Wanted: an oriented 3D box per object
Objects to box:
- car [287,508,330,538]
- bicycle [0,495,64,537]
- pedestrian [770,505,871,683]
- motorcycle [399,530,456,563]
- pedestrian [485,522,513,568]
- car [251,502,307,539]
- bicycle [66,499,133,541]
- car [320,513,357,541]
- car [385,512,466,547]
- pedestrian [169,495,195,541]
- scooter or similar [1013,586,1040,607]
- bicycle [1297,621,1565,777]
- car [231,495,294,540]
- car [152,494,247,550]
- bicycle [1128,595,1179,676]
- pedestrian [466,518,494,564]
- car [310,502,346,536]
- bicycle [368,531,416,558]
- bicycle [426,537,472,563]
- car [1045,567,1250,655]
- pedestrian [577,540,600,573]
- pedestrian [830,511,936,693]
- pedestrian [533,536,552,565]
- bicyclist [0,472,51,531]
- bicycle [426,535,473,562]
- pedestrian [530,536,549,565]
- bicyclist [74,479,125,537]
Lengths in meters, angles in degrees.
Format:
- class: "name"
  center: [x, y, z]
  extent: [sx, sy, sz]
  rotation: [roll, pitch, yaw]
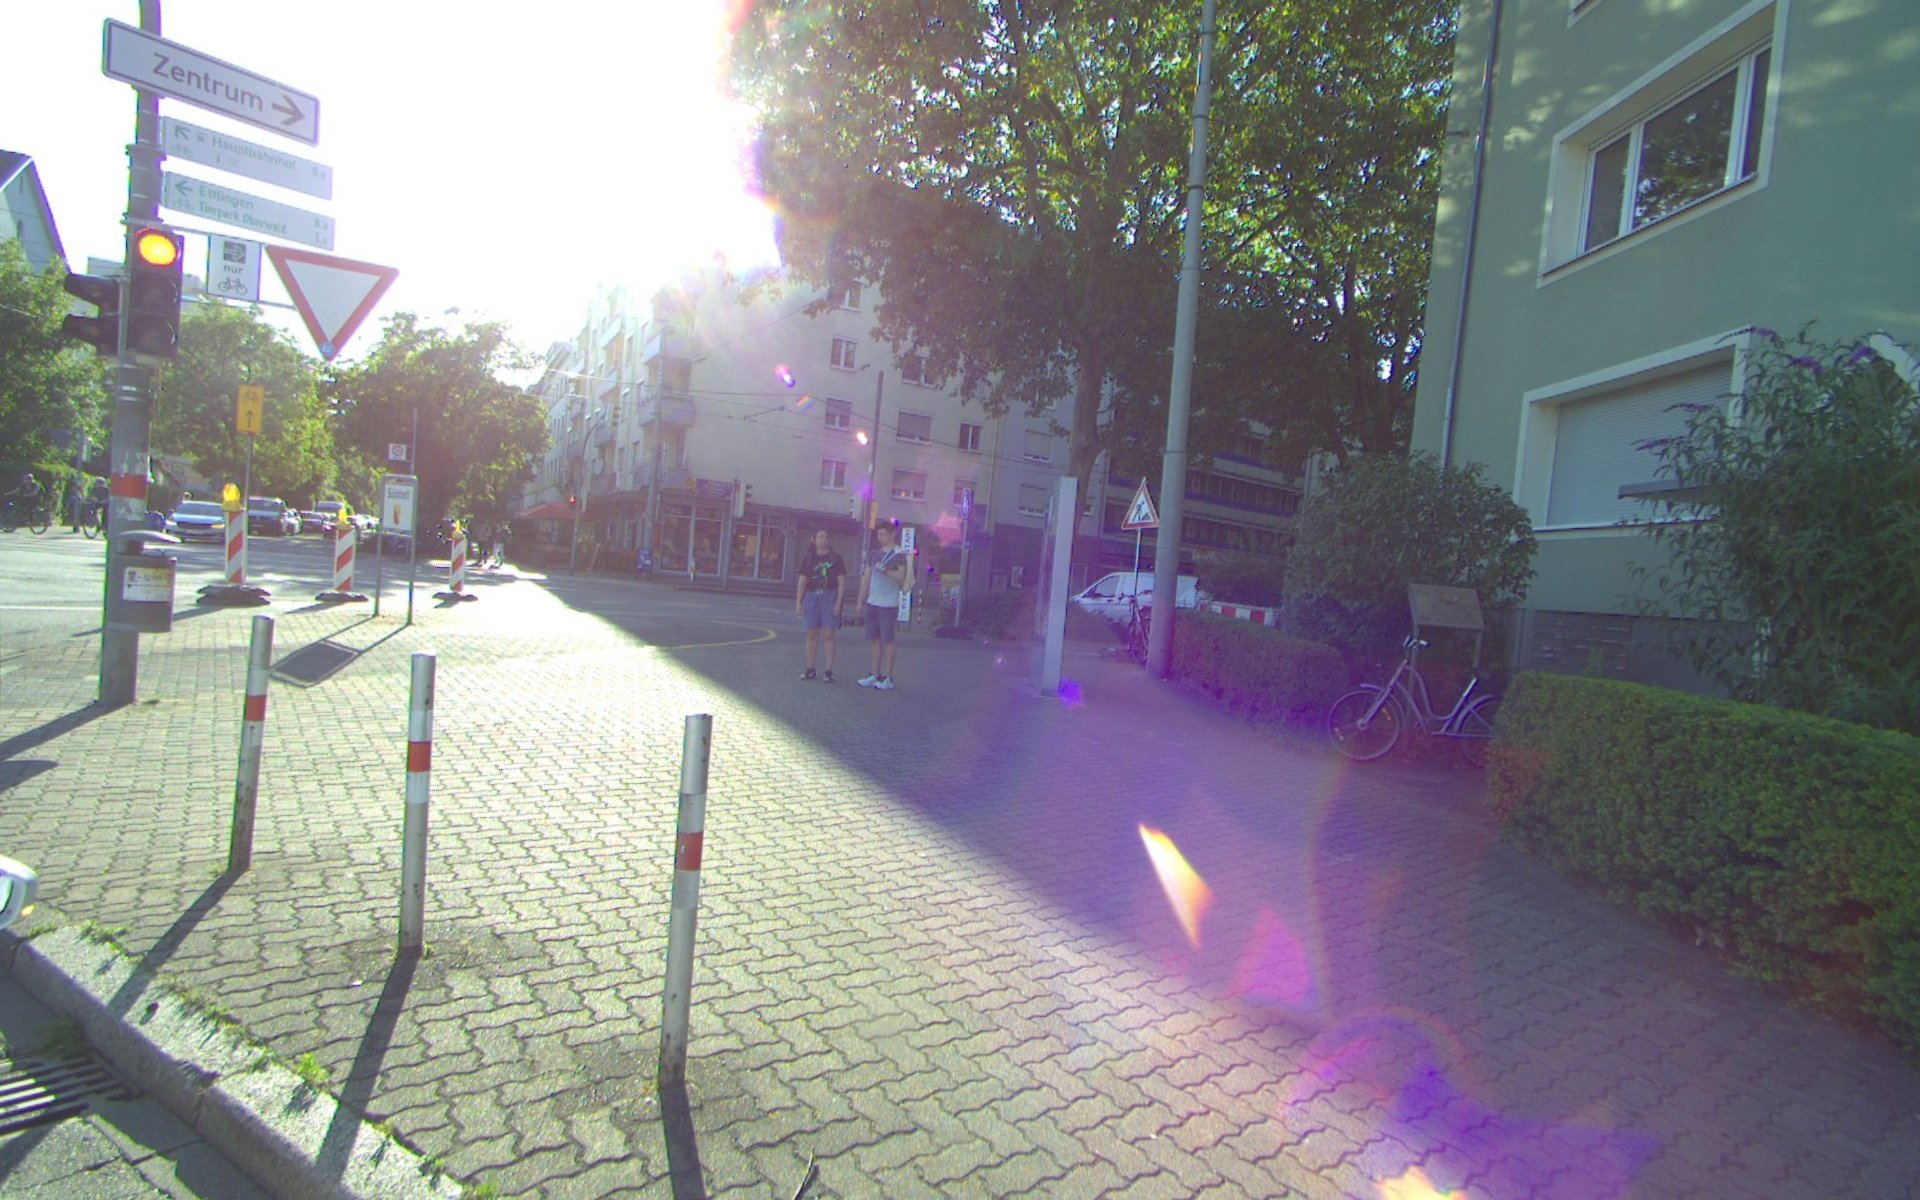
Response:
- class: "car"
  center: [-47.043, -5.571, 72.766]
  extent: [2.336, 1.818, 5.265]
  rotation: [4, 2, -31]
- class: "bicycle"
  center: [-26.635, -2.387, 28.681]
  extent: [0.652, 1.083, 2.013]
  rotation: [5, 2, -12]
- class: "pedestrian"
  center: [-1.477, -0.062, 10.721]
  extent: [0.680, 1.774, 0.794]
  rotation: [6, 2, 13]
- class: "motorcycle"
  center: [-21.645, -2.164, 40.879]
  extent: [1.938, 1.124, 0.829]
  rotation: [4, 2, -34]
- class: "pedestrian"
  center: [-18.562, -2.219, 40.512]
  extent: [0.681, 1.774, 0.793]
  rotation: [5, 2, -7]
- class: "car"
  center: [-40.166, -4.676, 59.455]
  extent: [2.336, 1.818, 5.265]
  rotation: [4, 2, -31]
- class: "bicycle"
  center: [-24.799, -2.292, 29.036]
  extent: [0.653, 1.083, 2.011]
  rotation: [5, 2, -16]
- class: "car"
  center: [-39.665, -4.669, 64.271]
  extent: [1.878, 1.585, 4.356]
  rotation: [5, 2, -31]
- class: "car"
  center: [-39.356, -5.142, 74.115]
  extent: [5.050, 1.948, 2.344]
  rotation: [5, 0, -32]
- class: "pedestrian"
  center: [-32.557, -3.419, 42.098]
  extent: [0.656, 1.863, 0.677]
  rotation: [4, 3, -30]
- class: "scooter or similar"
  center: [3.442, -0.188, 52.172]
  extent: [1.421, 0.966, 0.462]
  rotation: [4, 3, -44]
- class: "bicycle"
  center: [3.952, 0.817, 8.546]
  extent: [1.897, 1.071, 0.521]
  rotation: [6, 2, 5]
- class: "car"
  center: [-37.334, -4.395, 53.983]
  extent: [2.336, 2.040, 5.265]
  rotation: [4, 2, -31]
- class: "car"
  center: [-26.931, -2.719, 35.759]
  extent: [1.875, 1.503, 3.974]
  rotation: [8, -2, -27]
- class: "bicycle"
  center: [2.863, 0.492, 15.000]
  extent: [0.511, 1.071, 1.933]
  rotation: [6, 1, 7]
- class: "pedestrian"
  center: [-19.500, -2.400, 40.892]
  extent: [0.706, 1.774, 0.793]
  rotation: [5, 2, -7]
- class: "car"
  center: [-54.395, -6.968, 86.631]
  extent: [2.336, 2.548, 5.265]
  rotation: [4, 2, -31]
- class: "bicycle"
  center: [-23.705, -2.333, 42.011]
  extent: [1.708, 0.945, 0.667]
  rotation: [5, 2, -29]
- class: "bicycle"
  center: [-21.976, -2.166, 43.274]
  extent: [1.708, 0.945, 0.557]
  rotation: [5, 2, -29]
- class: "car"
  center: [4.708, 0.224, 26.129]
  extent: [1.913, 1.849, 5.185]
  rotation: [5, 0, -37]
- class: "pedestrian"
  center: [-18.484, -2.177, 50.081]
  extent: [0.806, 1.565, 0.905]
  rotation: [3, 3, -35]
- class: "pedestrian"
  center: [-0.794, 0.020, 10.518]
  extent: [0.680, 1.774, 0.794]
  rotation: [6, 2, 21]
- class: "pedestrian"
  center: [-20.825, -2.483, 50.200]
  extent: [0.803, 1.381, 0.908]
  rotation: [4, 2, -24]
- class: "bicyclist"
  center: [-26.585, -2.774, 28.571]
  extent: [0.650, 1.552, 1.034]
  rotation: [5, 2, -13]
- class: "bicycle"
  center: [-21.606, -2.189, 42.603]
  extent: [1.708, 0.945, 0.557]
  rotation: [5, 2, -29]
- class: "pedestrian"
  center: [-21.464, -2.522, 51.356]
  extent: [0.803, 1.381, 0.908]
  rotation: [4, 2, -23]
- class: "bicyclist"
  center: [-24.772, -2.621, 28.976]
  extent: [0.687, 1.552, 1.033]
  rotation: [5, 2, -16]
